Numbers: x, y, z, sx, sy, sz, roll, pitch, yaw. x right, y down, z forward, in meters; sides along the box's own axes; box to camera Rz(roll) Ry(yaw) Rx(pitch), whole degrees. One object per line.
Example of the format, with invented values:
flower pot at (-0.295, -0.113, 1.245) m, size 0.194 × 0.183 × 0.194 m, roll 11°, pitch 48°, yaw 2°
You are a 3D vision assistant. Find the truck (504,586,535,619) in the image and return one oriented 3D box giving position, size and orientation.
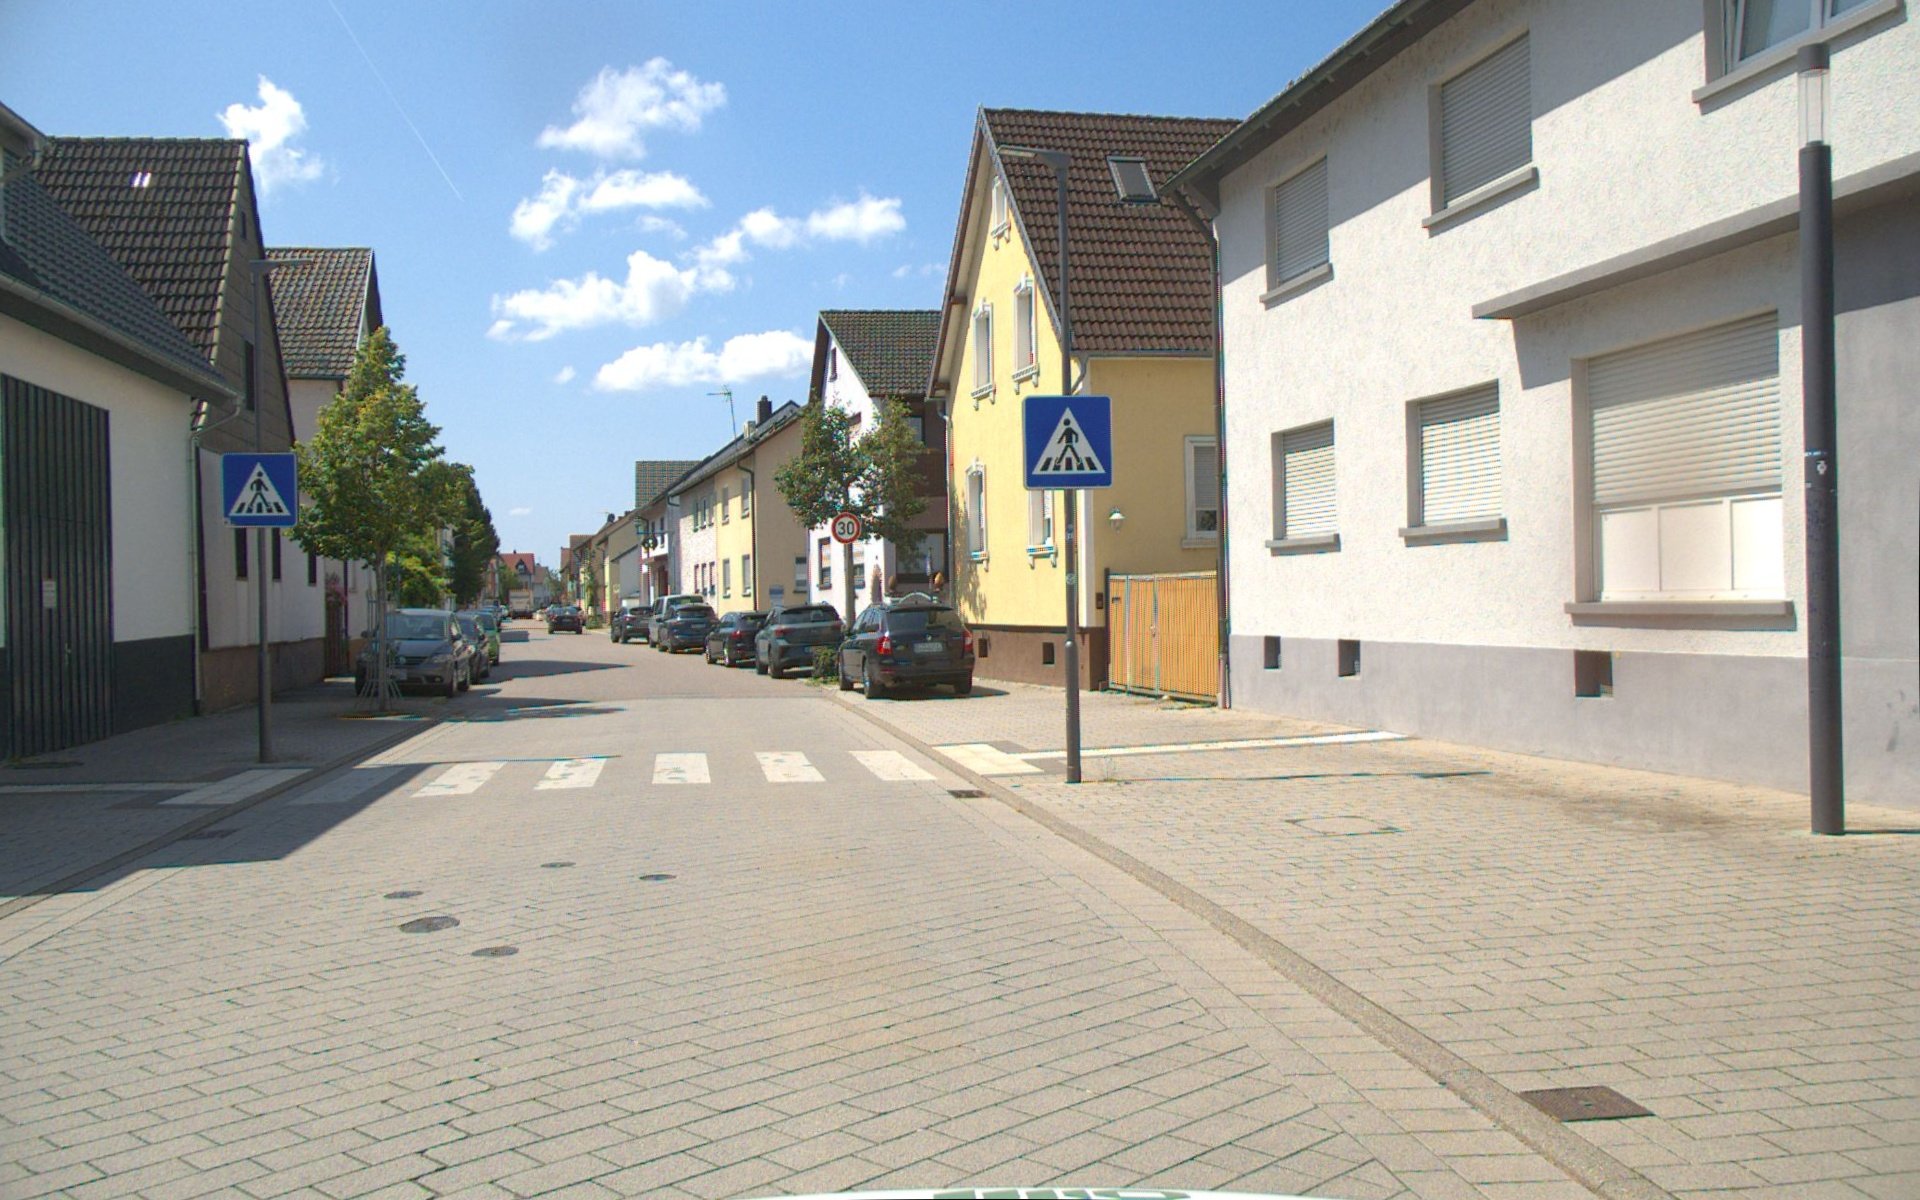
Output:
truck at (-55.510, 0.347, 208.362) m, size 3.508 × 4.023 × 8.542 m, roll -2°, pitch 0°, yaw -16°

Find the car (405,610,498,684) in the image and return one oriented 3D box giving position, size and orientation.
car at (-11.551, 1.023, 37.785) m, size 1.720 × 1.559 × 4.245 m, roll 0°, pitch 0°, yaw -13°

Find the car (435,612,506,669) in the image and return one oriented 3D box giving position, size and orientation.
car at (-14.093, 1.124, 47.785) m, size 1.763 × 1.501 × 3.856 m, roll -2°, pitch 0°, yaw -14°

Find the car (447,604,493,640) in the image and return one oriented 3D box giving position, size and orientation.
car at (-24.091, 1.066, 81.473) m, size 1.960 × 1.691 × 3.985 m, roll -2°, pitch 0°, yaw -14°

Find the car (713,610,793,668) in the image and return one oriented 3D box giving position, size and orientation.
car at (-5.562, 1.017, 44.180) m, size 1.682 × 1.411 × 3.692 m, roll -2°, pitch 0°, yaw -14°

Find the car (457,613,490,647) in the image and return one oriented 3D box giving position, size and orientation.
car at (-27.676, 1.687, 94.167) m, size 1.655 × 1.789 × 3.602 m, roll -2°, pitch 0°, yaw -14°

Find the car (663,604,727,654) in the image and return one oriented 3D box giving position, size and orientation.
car at (-9.217, 0.976, 57.380) m, size 1.846 × 1.619 × 3.986 m, roll -2°, pitch 0°, yaw -14°

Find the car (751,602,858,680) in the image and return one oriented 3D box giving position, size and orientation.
car at (-3.508, 0.859, 36.764) m, size 1.815 × 1.590 × 3.680 m, roll -2°, pitch 0°, yaw -14°

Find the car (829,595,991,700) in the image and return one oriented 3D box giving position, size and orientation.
car at (-0.922, 0.744, 27.557) m, size 1.798 × 1.497 × 4.260 m, roll -3°, pitch 0°, yaw -14°

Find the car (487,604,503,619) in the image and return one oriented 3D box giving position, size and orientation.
car at (-58.935, 1.453, 209.545) m, size 1.816 × 1.737 × 3.705 m, roll -2°, pitch 0°, yaw -14°

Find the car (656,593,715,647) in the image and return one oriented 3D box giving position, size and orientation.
car at (-10.470, 0.736, 62.963) m, size 1.874 × 1.904 × 3.986 m, roll -2°, pitch 0°, yaw -14°

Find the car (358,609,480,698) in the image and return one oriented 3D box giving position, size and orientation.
car at (-10.211, 0.957, 31.468) m, size 1.716 × 1.557 × 3.989 m, roll 0°, pitch 0°, yaw -11°

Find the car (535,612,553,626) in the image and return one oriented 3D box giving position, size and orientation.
car at (-45.392, 2.040, 180.428) m, size 1.660 × 1.478 × 3.776 m, roll -2°, pitch 0°, yaw -16°

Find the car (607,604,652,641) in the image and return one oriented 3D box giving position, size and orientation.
car at (-14.284, 0.950, 71.396) m, size 1.724 × 1.519 × 3.986 m, roll -2°, pitch 0°, yaw -14°

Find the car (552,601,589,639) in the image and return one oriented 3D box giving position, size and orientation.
car at (-22.530, 1.141, 95.630) m, size 1.960 × 2.094 × 4.357 m, roll -2°, pitch 0°, yaw -14°
